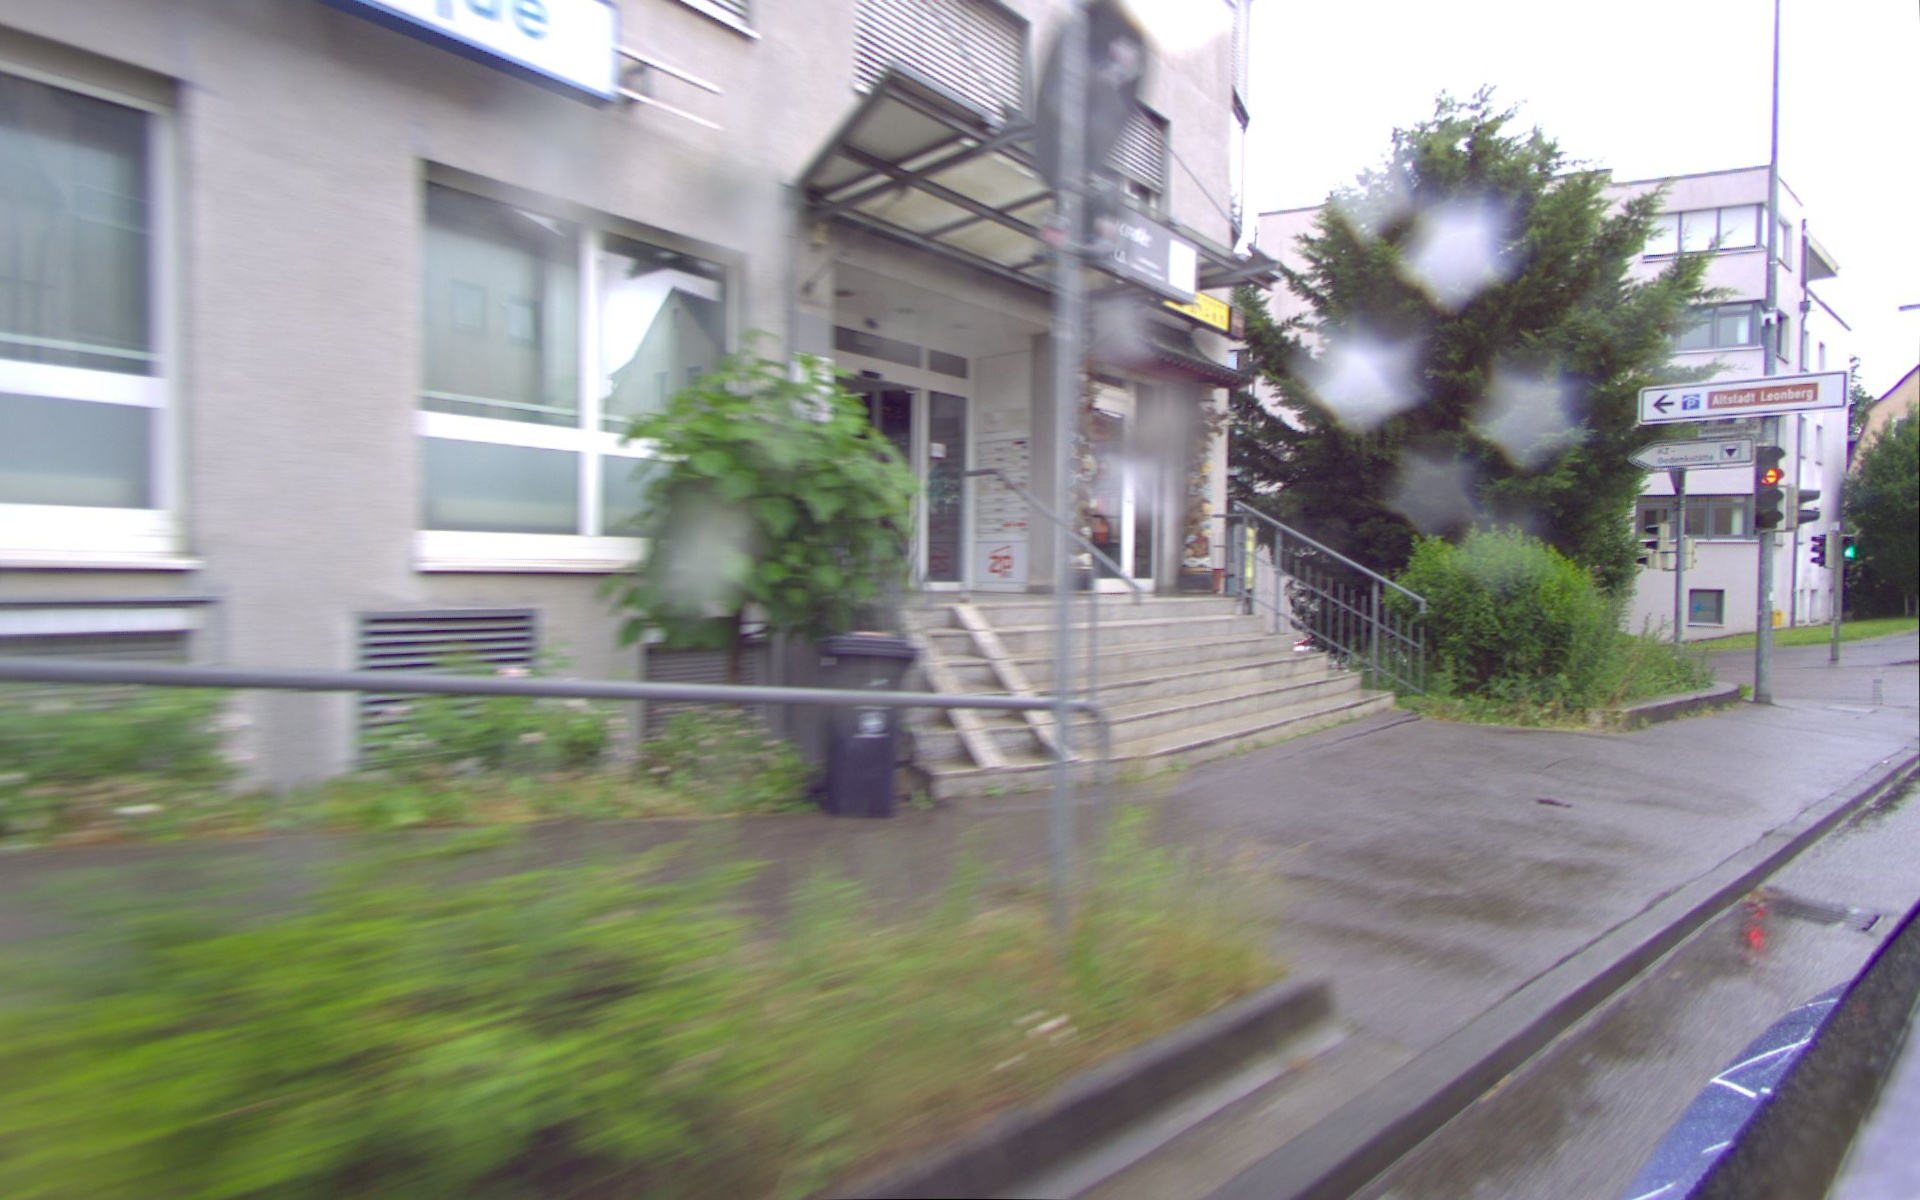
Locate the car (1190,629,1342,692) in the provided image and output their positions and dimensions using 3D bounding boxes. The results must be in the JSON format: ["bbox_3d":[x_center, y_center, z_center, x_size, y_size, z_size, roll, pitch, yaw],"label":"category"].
[{"bbox_3d":[8.431,1.610,27.899,3.801,1.469,1.775,0,1,27],"label":"car"}]

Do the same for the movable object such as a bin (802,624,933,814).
[{"bbox_3d":[-0.497,0.612,5.360,0.482,0.921,0.484,4,-1,-29],"label":"movable object such as a bin"}]
